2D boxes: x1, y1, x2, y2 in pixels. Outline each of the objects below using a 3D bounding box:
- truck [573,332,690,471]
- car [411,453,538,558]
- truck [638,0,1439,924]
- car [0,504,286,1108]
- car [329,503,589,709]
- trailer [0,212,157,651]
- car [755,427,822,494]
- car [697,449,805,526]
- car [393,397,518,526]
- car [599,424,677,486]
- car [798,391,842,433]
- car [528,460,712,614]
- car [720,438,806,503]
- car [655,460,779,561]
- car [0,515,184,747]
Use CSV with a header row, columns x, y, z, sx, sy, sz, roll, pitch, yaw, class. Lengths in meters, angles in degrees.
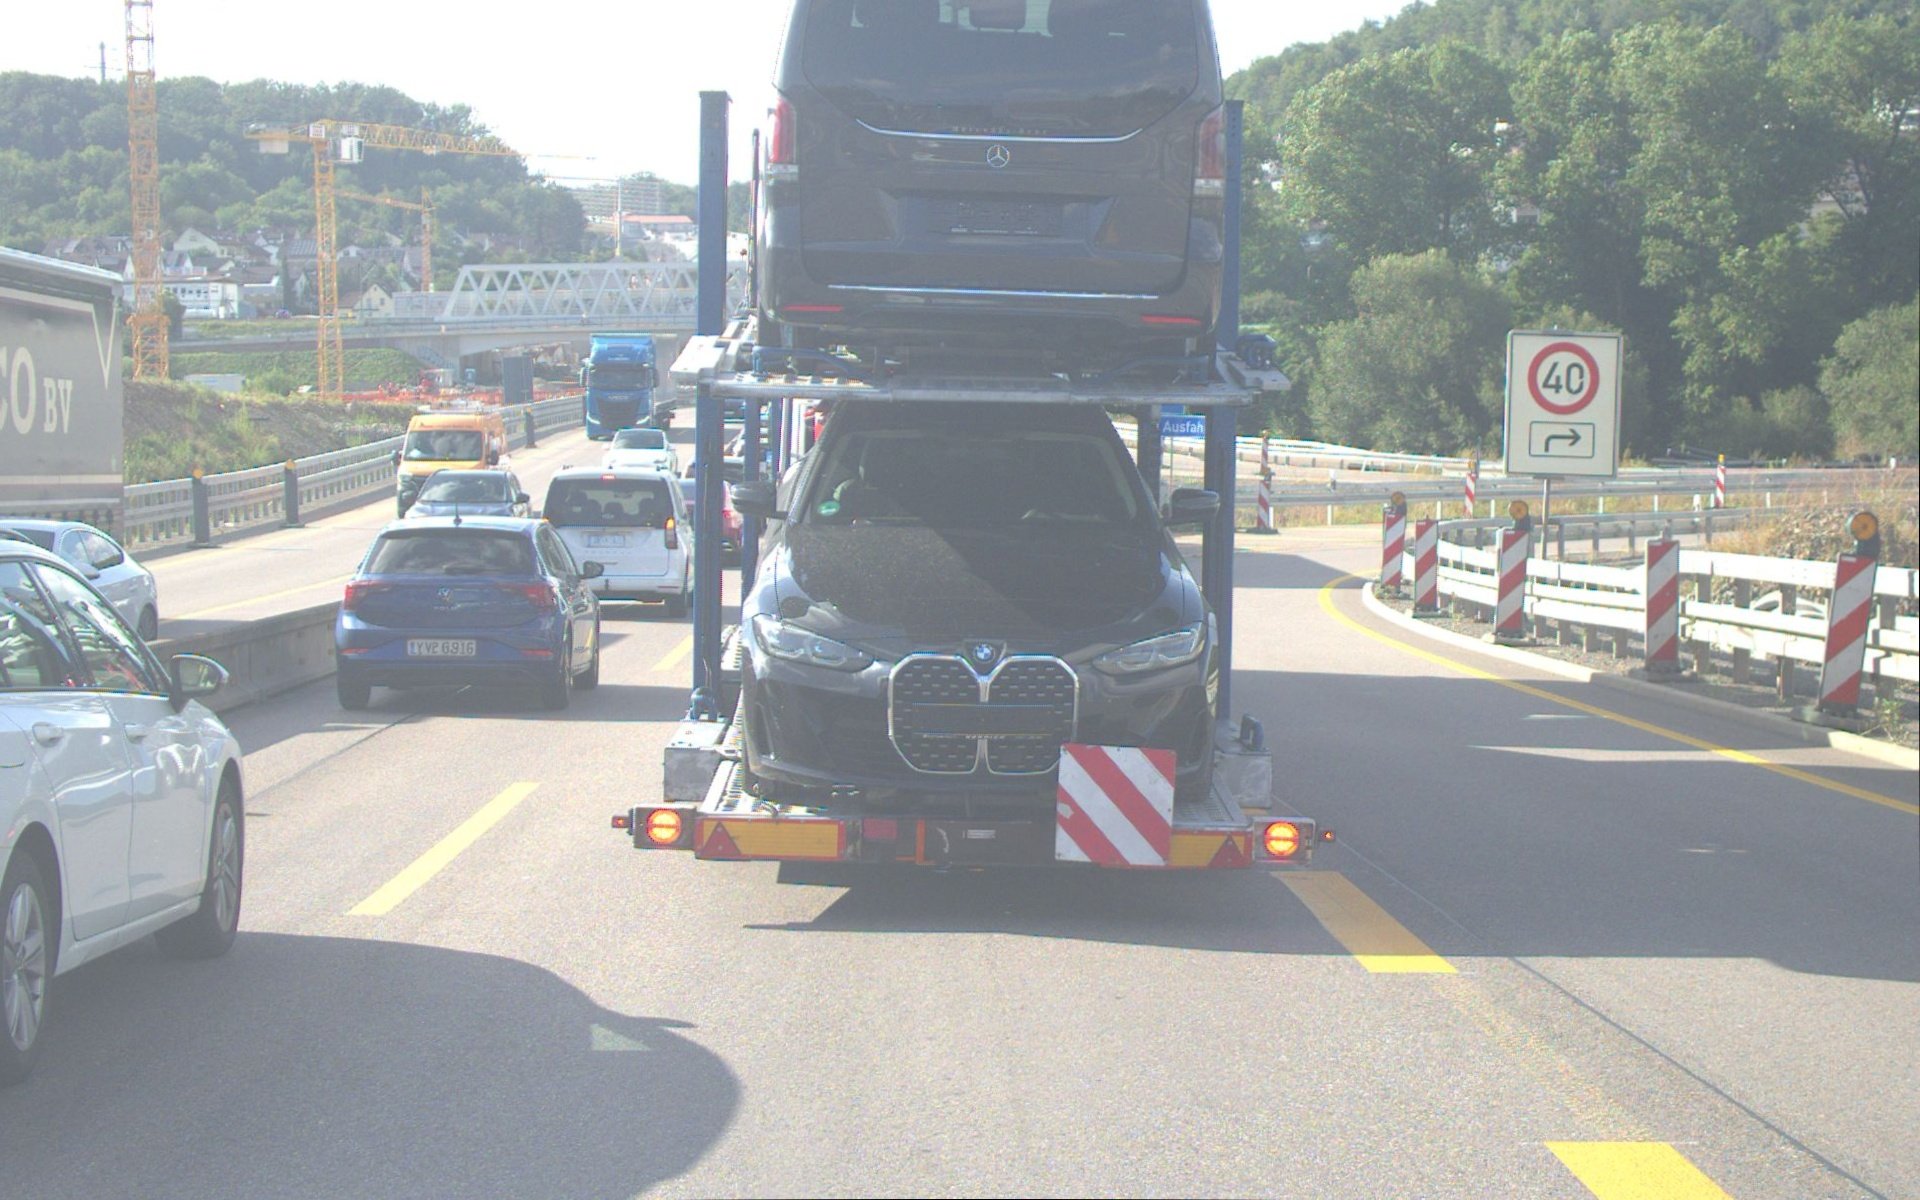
x,y,z,sx,sy,sz,roll,pitch,yaw,class
-13.139,-7.863,138.668,2.822,4.772,13.053,1,0,3,truck
-7.961,-1.543,56.649,1.844,1.642,4.237,1,1,-5,car
-0.100,-1.048,21.706,2.753,3.941,18.892,2,1,-2,truck
-3.296,0.476,10.070,1.770,1.486,4.517,1,2,0,car
-3.823,-0.010,26.753,1.721,1.417,4.001,1,2,-5,car
-11.185,-1.721,33.874,2.976,4.407,13.816,2,1,1,trailer
-5.656,-4.590,113.679,1.993,2.007,4.000,1,0,0,car
-4.393,-2.357,72.790,1.993,1.546,4.000,1,1,0,car
-11.740,-3.252,80.400,1.993,2.869,6.065,1,2,0,car
-9.192,-4.131,98.312,1.993,1.678,4.001,1,1,-2,car
-6.101,-8.145,149.485,1.844,1.642,4.505,1,1,-3,car
-4.156,-0.737,42.566,1.823,1.786,4.000,1,0,1,car
-5.212,-3.455,91.446,1.993,1.660,4.001,1,3,1,car
-4.128,-1.491,58.385,1.993,1.551,4.401,1,0,-4,car
-7.549,0.168,26.460,1.844,1.642,4.504,1,1,4,car
